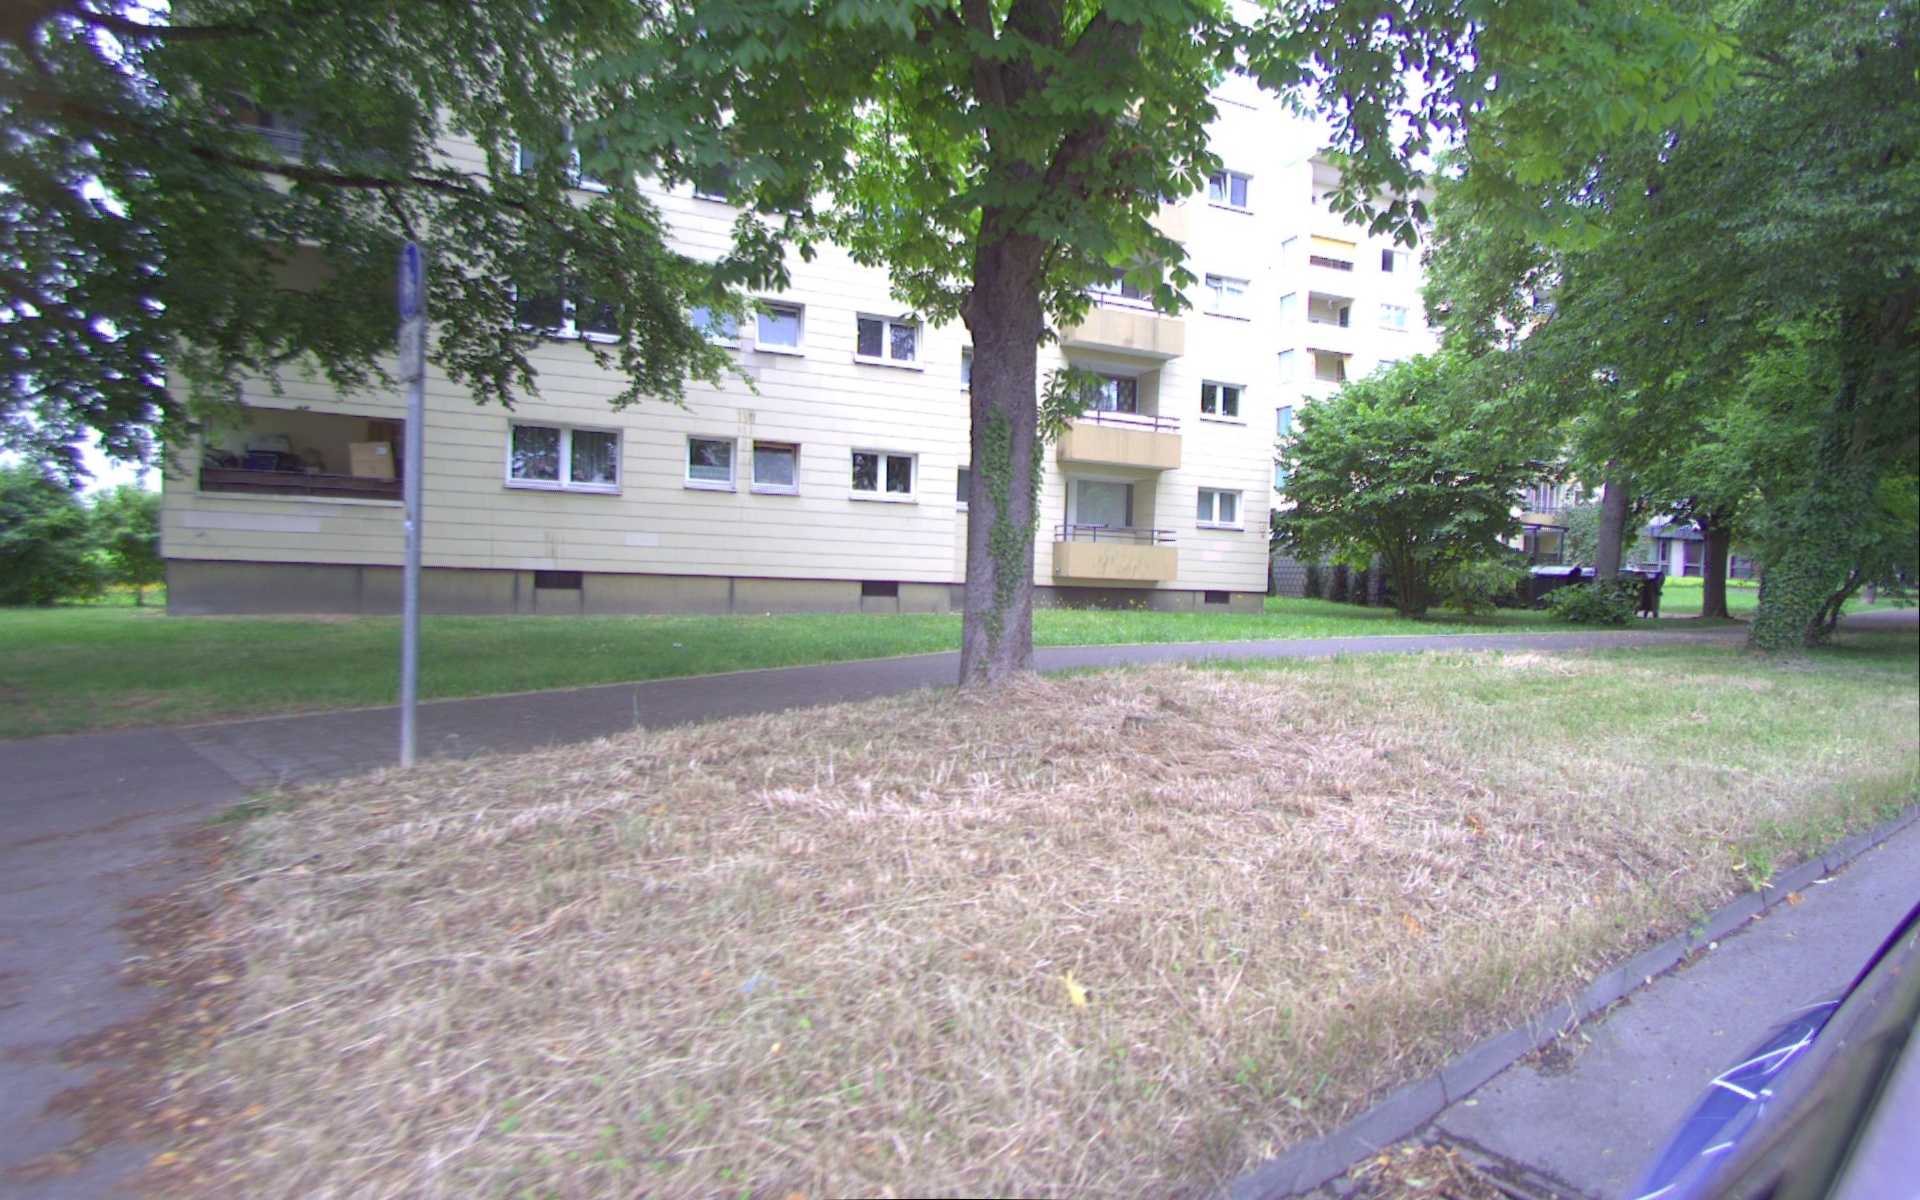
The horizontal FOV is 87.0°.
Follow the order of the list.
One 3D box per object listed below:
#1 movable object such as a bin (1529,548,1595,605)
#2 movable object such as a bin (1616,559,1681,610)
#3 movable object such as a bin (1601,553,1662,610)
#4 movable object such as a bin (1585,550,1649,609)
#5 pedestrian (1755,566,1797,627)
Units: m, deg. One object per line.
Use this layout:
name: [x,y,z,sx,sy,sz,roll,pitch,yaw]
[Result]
movable object such as a bin: [18.560,-0.739,31.201,1.002,1.661,1.435,-2,5,-39]
movable object such as a bin: [21.435,-0.517,31.520,1.180,1.492,1.328,-2,5,-39]
movable object such as a bin: [20.424,-0.577,30.792,1.056,1.661,1.240,-2,5,-39]
movable object such as a bin: [19.483,-0.636,30.023,1.002,1.661,1.278,-2,5,-39]
pedestrian: [19.427,-0.097,24.098,0.596,1.398,0.688,-2,3,-43]
